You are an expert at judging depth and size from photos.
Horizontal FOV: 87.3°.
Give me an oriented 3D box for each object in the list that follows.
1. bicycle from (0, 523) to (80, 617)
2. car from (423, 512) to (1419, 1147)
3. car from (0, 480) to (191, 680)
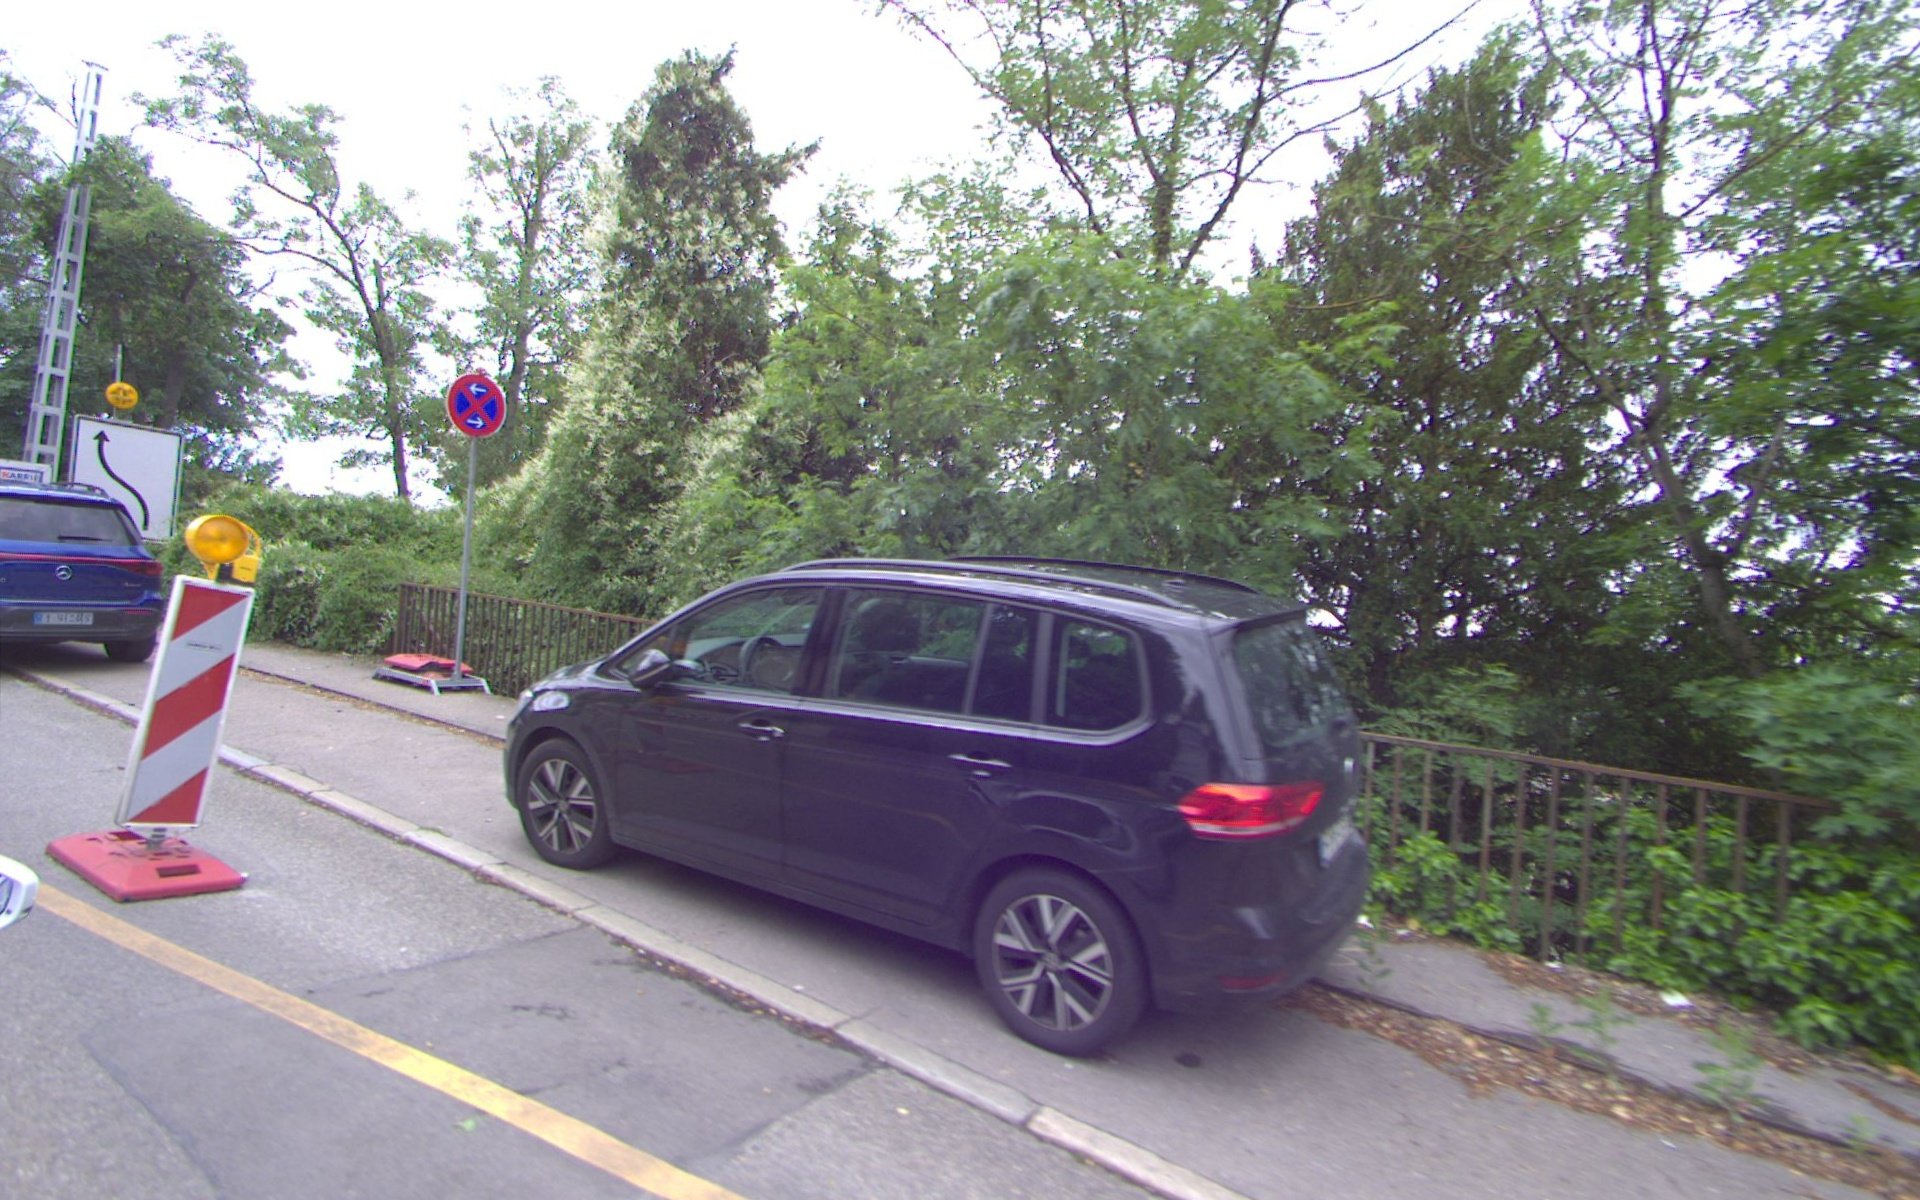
[{"bbox_3d":[-12.724,-0.430,13.721,1.770,1.122,0.499,7,2,30],"label":"bicycle"},{"bbox_3d":[-0.424,0.588,4.959,4.569,1.697,1.861,6,4,32],"label":"car"},{"bbox_3d":[-9.603,-0.357,9.844,4.428,1.665,1.839,6,3,32],"label":"car"}]
